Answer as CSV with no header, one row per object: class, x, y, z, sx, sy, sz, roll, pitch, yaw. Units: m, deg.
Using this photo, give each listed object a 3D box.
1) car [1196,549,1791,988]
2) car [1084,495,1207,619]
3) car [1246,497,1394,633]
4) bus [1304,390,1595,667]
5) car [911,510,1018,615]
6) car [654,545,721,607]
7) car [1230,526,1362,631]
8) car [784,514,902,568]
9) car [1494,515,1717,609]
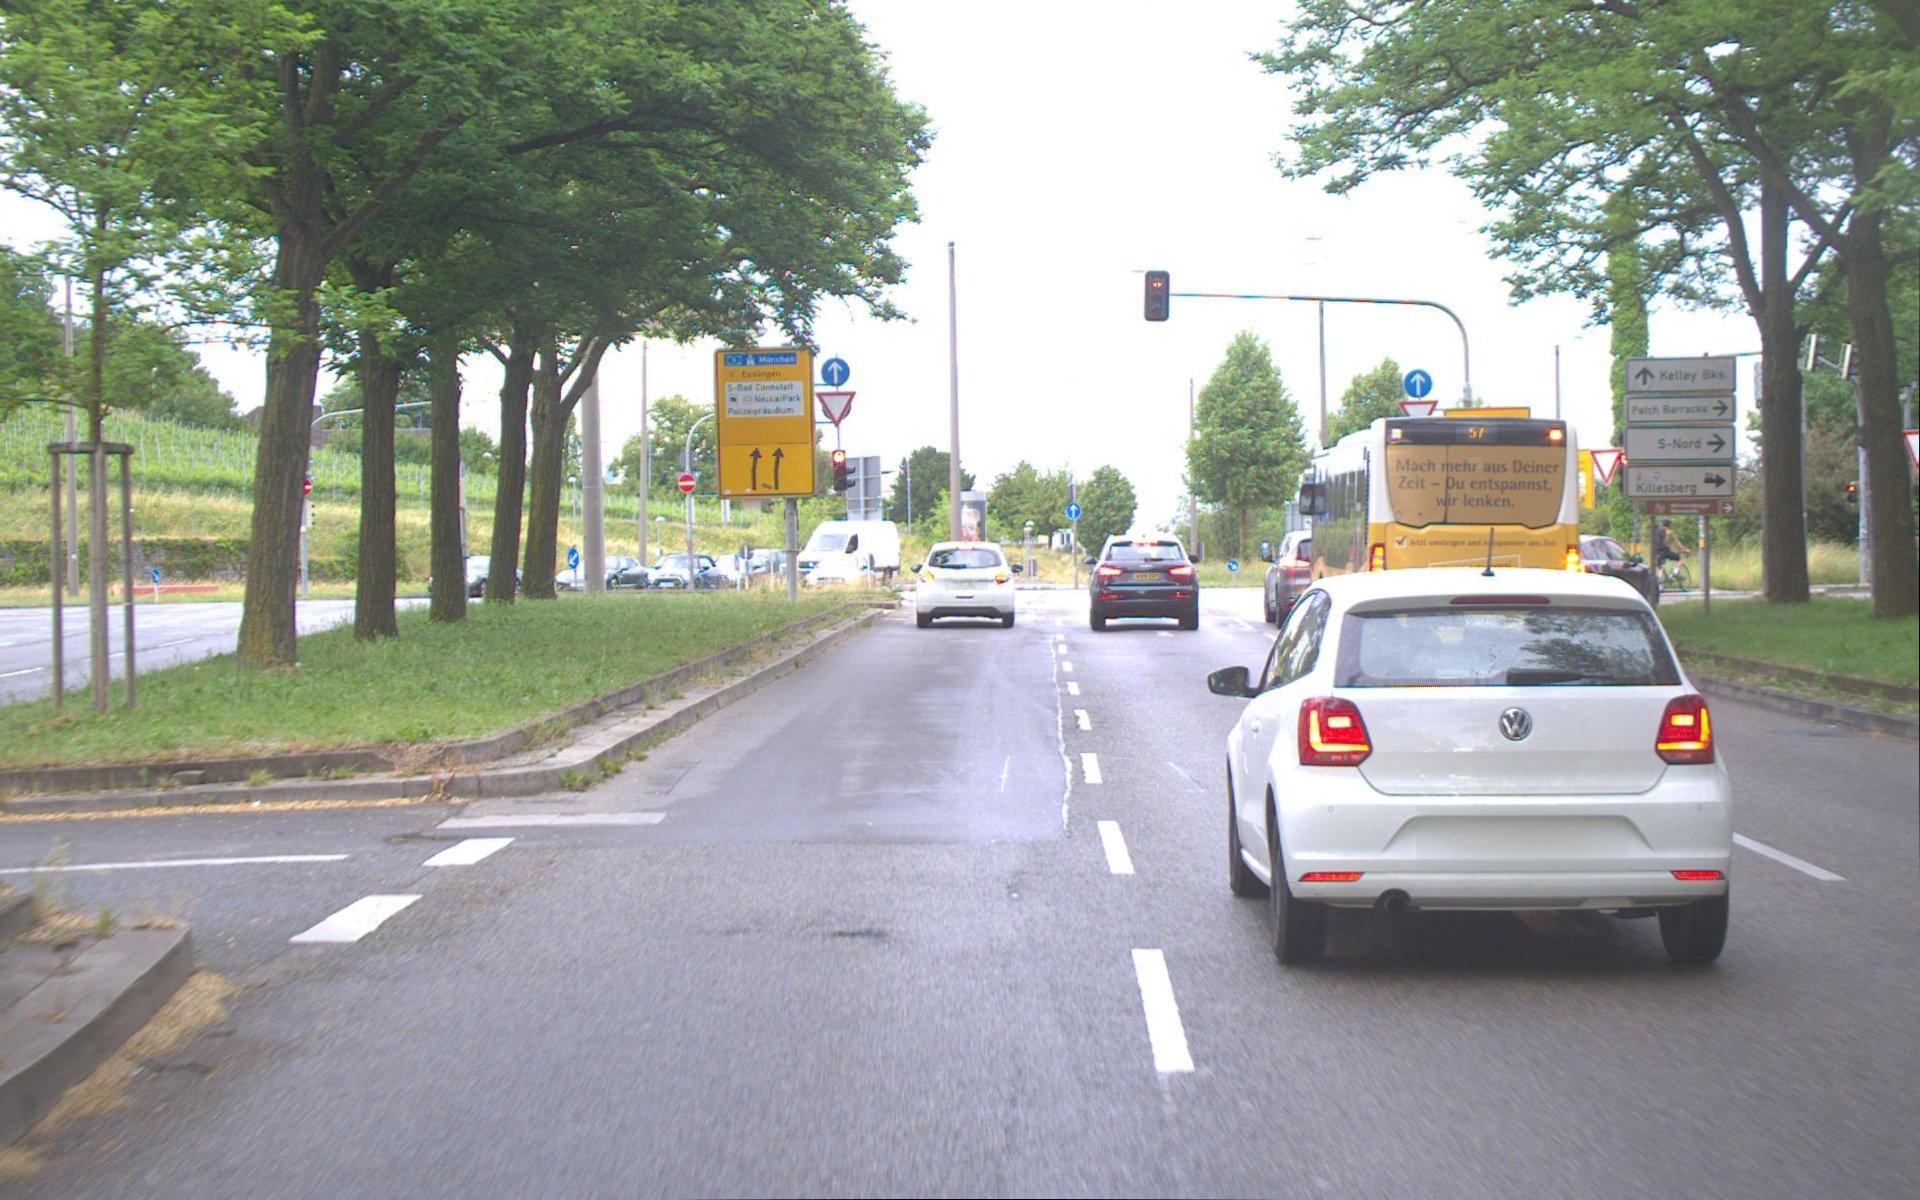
car,1.983,0.554,13.903,1.794,1.497,4.000,1,1,0
car,3.120,-0.774,58.566,1.993,2.006,4.000,-1,2,2
car,5.562,-0.528,53.543,1.994,2.007,4.000,-1,0,2
bus,6.313,-0.950,45.802,2.828,3.255,10.000,0,1,2
car,0.100,-0.688,60.243,1.794,1.735,4.000,-1,2,1
car,-9.101,-0.772,114.962,1.993,2.007,4.000,0,0,-1
car,5.746,-0.358,59.207,1.994,1.711,4.000,-1,0,2
car,-4.656,-2.394,138.284,1.997,2.007,5.701,-1,1,30
car,10.875,-0.650,57.836,3.817,1.510,1.699,-1,0,-42
